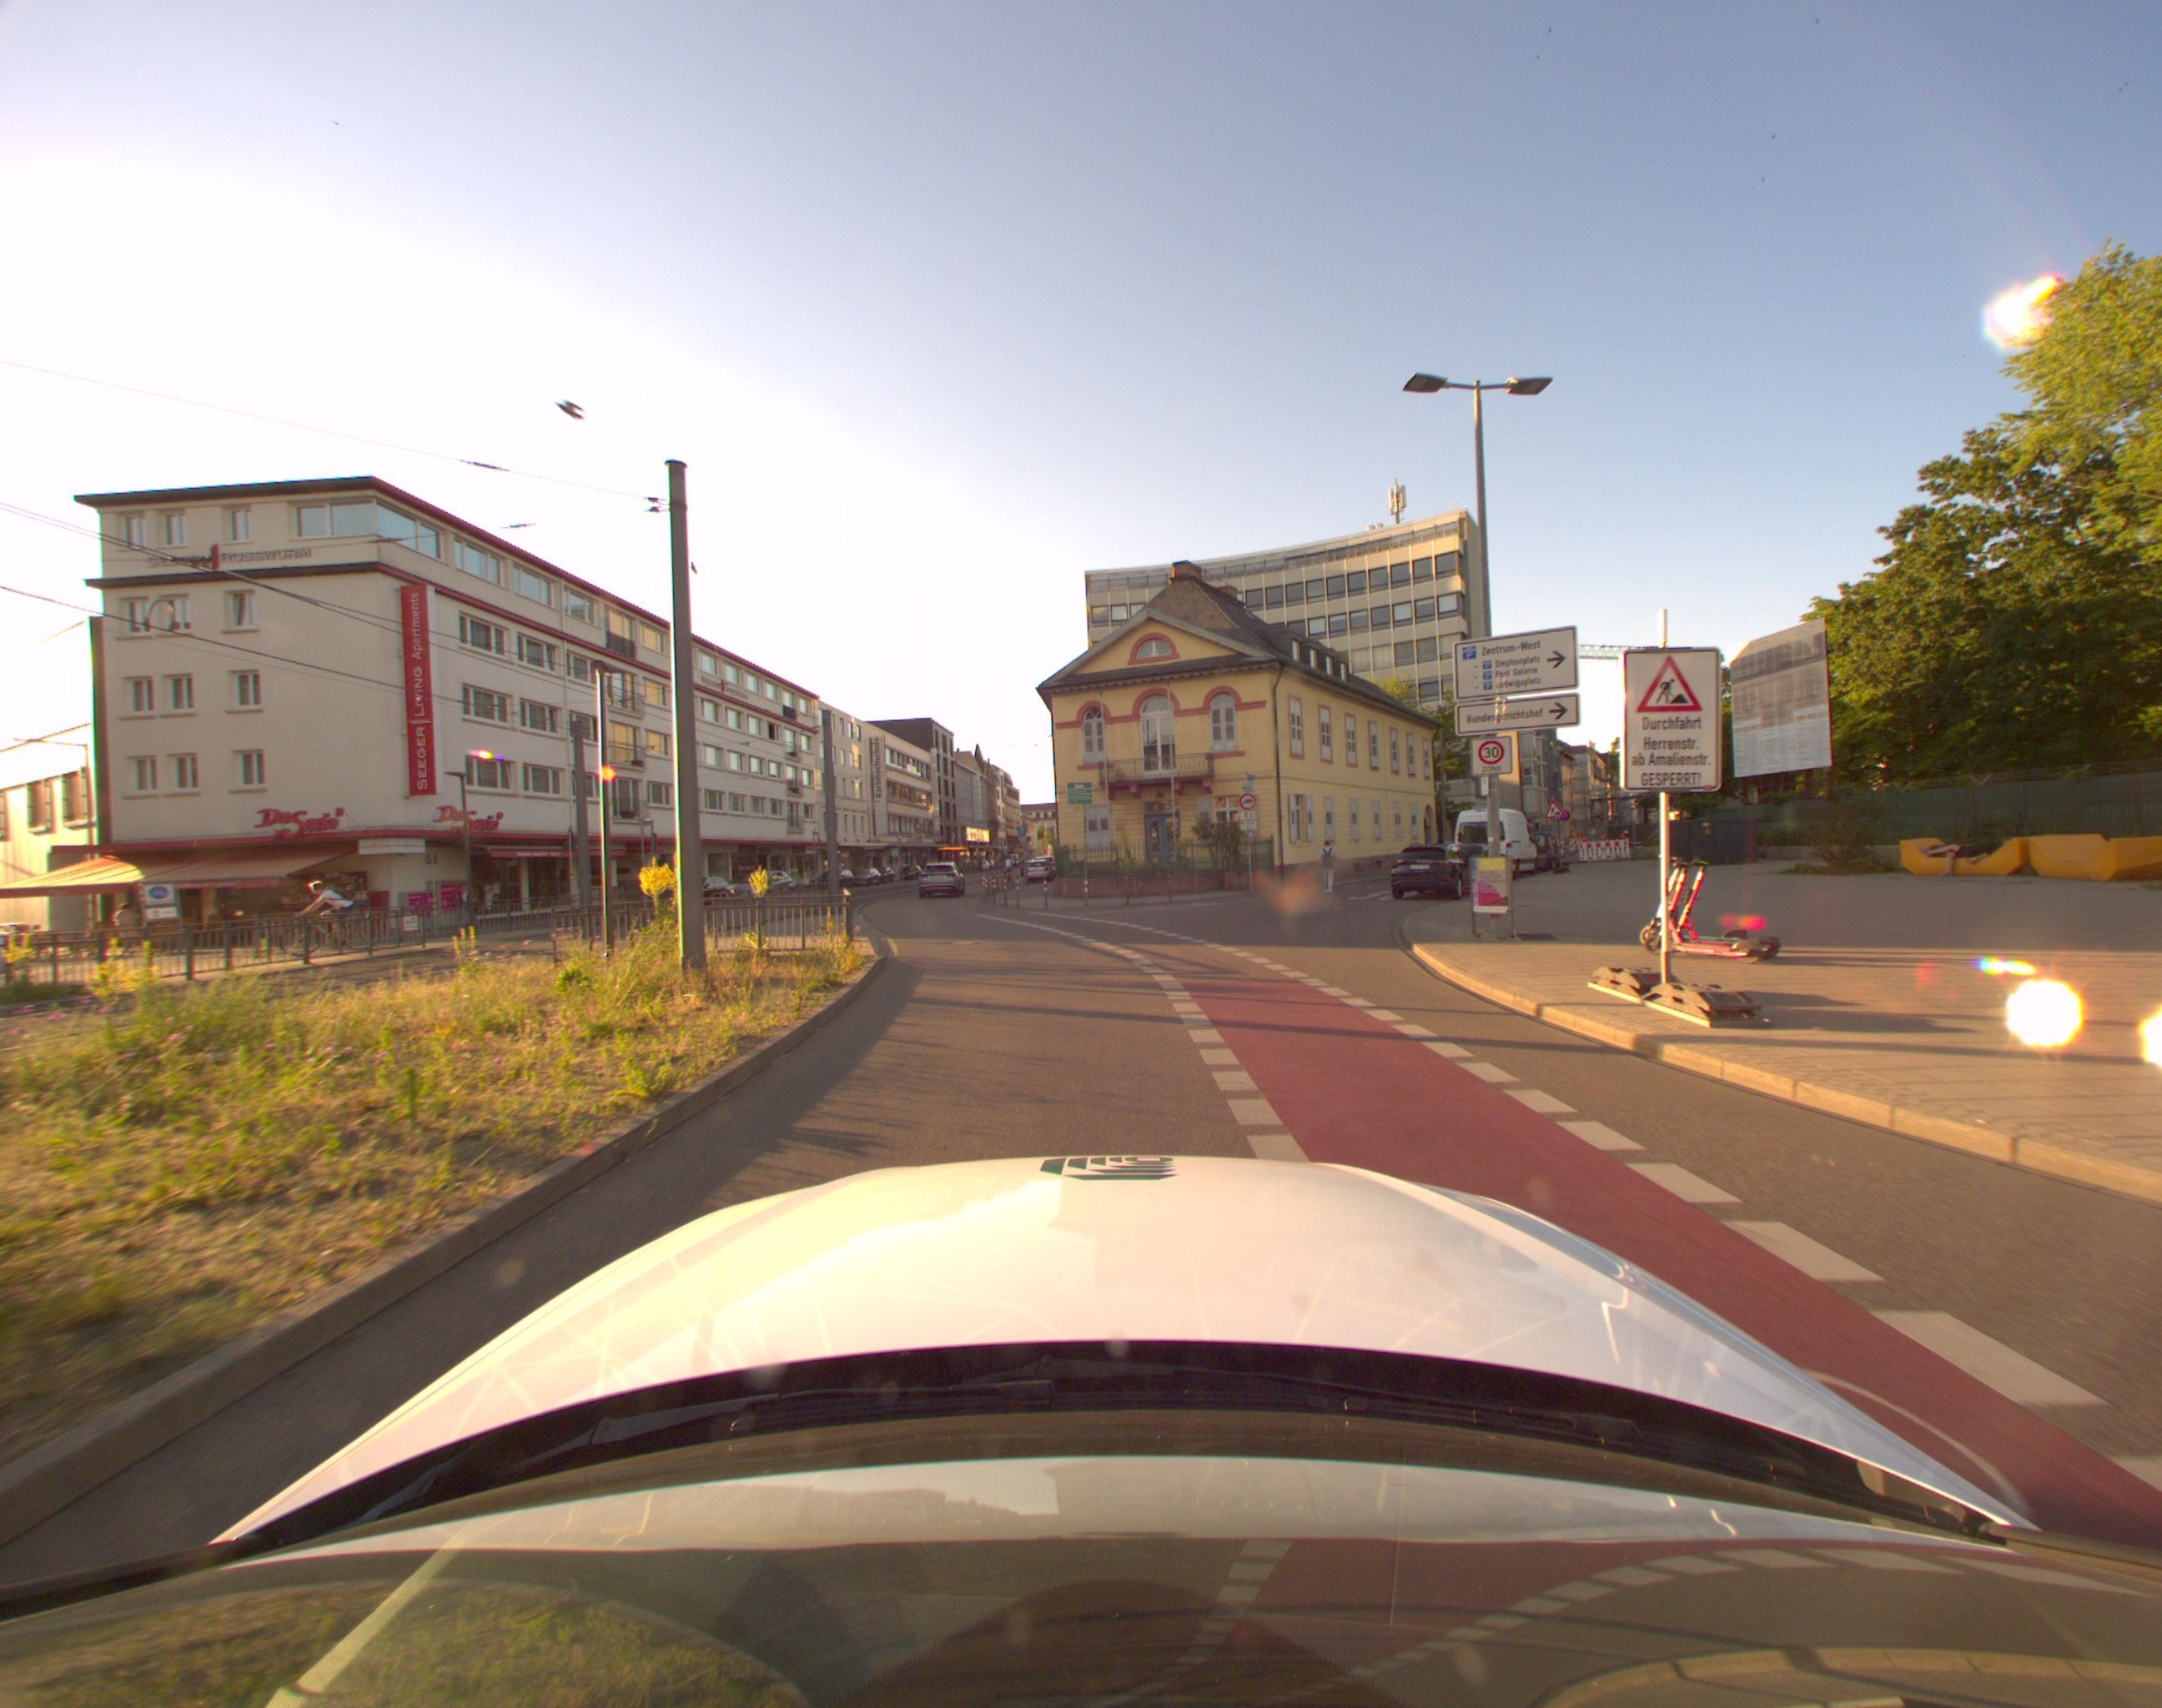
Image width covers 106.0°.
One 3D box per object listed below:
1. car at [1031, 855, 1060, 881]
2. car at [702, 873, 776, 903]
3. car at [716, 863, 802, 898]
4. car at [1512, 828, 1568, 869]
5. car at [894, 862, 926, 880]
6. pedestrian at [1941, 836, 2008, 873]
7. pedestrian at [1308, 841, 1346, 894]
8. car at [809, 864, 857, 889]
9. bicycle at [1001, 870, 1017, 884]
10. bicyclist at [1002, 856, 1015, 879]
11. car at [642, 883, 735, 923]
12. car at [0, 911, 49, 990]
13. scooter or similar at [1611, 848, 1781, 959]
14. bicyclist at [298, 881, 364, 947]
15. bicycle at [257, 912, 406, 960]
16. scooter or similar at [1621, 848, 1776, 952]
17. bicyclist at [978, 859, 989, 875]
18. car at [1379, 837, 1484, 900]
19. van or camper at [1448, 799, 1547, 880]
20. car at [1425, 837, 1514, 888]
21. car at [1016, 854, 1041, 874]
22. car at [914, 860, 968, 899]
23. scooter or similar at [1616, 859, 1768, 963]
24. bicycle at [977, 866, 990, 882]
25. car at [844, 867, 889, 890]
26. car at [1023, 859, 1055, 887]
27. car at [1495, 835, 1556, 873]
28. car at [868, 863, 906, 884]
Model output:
[{"bbox_3d":[-2.540,0.990,59.026,1.725,1.708,3.807,-3,0,1],"label":"car"},{"bbox_3d":[-19.750,1.943,47.265,1.983,1.465,4.410,-2,0,6],"label":"car"},{"bbox_3d":[-16.440,1.326,41.829,2.186,1.559,4.290,-2,0,8],"label":"car"},{"bbox_3d":[22.266,-0.297,39.452,1.696,1.848,4.048,-2,0,38],"label":"car"},{"bbox_3d":[-17.421,1.704,83.047,1.983,1.665,4.007,-2,0,6],"label":"car"},{"bbox_3d":[22.487,0.011,20.512,0.561,0.893,0.976,-2,0,-16],"label":"pedestrian"},{"bbox_3d":[8.128,0.442,26.908,0.868,1.724,0.835,-2,0,41],"label":"pedestrian"},{"bbox_3d":[-18.687,1.701,61.605,1.983,1.665,4.007,-2,0,6],"label":"car"},{"bbox_3d":[-5.161,1.633,58.640,0.826,0.870,2.550,-3,0,2],"label":"bicycle"},{"bbox_3d":[-5.212,0.962,58.679,0.826,1.568,0.787,-3,0,1],"label":"bicyclist"},{"bbox_3d":[-20.060,2.484,41.899,1.983,1.665,4.849,-2,0,6],"label":"car"},{"bbox_3d":[-21.450,1.892,13.750,2.027,1.441,4.661,-3,0,0],"label":"car"},{"bbox_3d":[7.733,0.605,10.292,1.632,1.292,0.464,-2,0,45],"label":"scooter or similar"},{"bbox_3d":[-17.526,1.383,19.035,0.824,1.441,0.936,-3,0,36],"label":"bicyclist"},{"bbox_3d":[-17.482,1.889,19.066,0.835,0.846,2.438,-3,0,36],"label":"bicycle"},{"bbox_3d":[8.105,0.590,10.729,1.507,1.260,0.616,-3,0,45],"label":"scooter or similar"},{"bbox_3d":[-13.279,1.775,110.899,1.162,2.013,1.045,-2,0,0],"label":"bicyclist"},{"bbox_3d":[9.854,0.361,22.730,1.761,1.543,4.318,-2,0,35],"label":"car"},{"bbox_3d":[16.229,-0.575,31.528,2.057,2.774,6.491,-3,0,39],"label":"van or camper"},{"bbox_3d":[12.829,0.238,26.739,1.712,1.429,4.503,-2,1,37],"label":"car"},{"bbox_3d":[-4.884,0.902,76.463,1.801,1.808,4.002,-3,0,2],"label":"car"},{"bbox_3d":[-6.603,1.173,38.985,1.939,1.661,4.531,-2,0,-3],"label":"car"},{"bbox_3d":[7.400,0.672,9.908,1.387,1.166,0.464,-3,0,44],"label":"scooter or similar"},{"bbox_3d":[-13.238,2.704,110.554,1.176,2.013,3.342,-2,0,1],"label":"bicycle"},{"bbox_3d":[-17.807,1.982,67.809,1.983,1.665,4.647,-3,0,6],"label":"car"},{"bbox_3d":[-2.730,1.214,53.598,1.725,1.708,3.440,-3,0,1],"label":"car"},{"bbox_3d":[19.668,-0.023,35.931,1.676,1.459,4.125,-2,1,38],"label":"car"},{"bbox_3d":[-17.643,1.743,74.222,1.983,1.665,4.007,-3,0,6],"label":"car"}]
